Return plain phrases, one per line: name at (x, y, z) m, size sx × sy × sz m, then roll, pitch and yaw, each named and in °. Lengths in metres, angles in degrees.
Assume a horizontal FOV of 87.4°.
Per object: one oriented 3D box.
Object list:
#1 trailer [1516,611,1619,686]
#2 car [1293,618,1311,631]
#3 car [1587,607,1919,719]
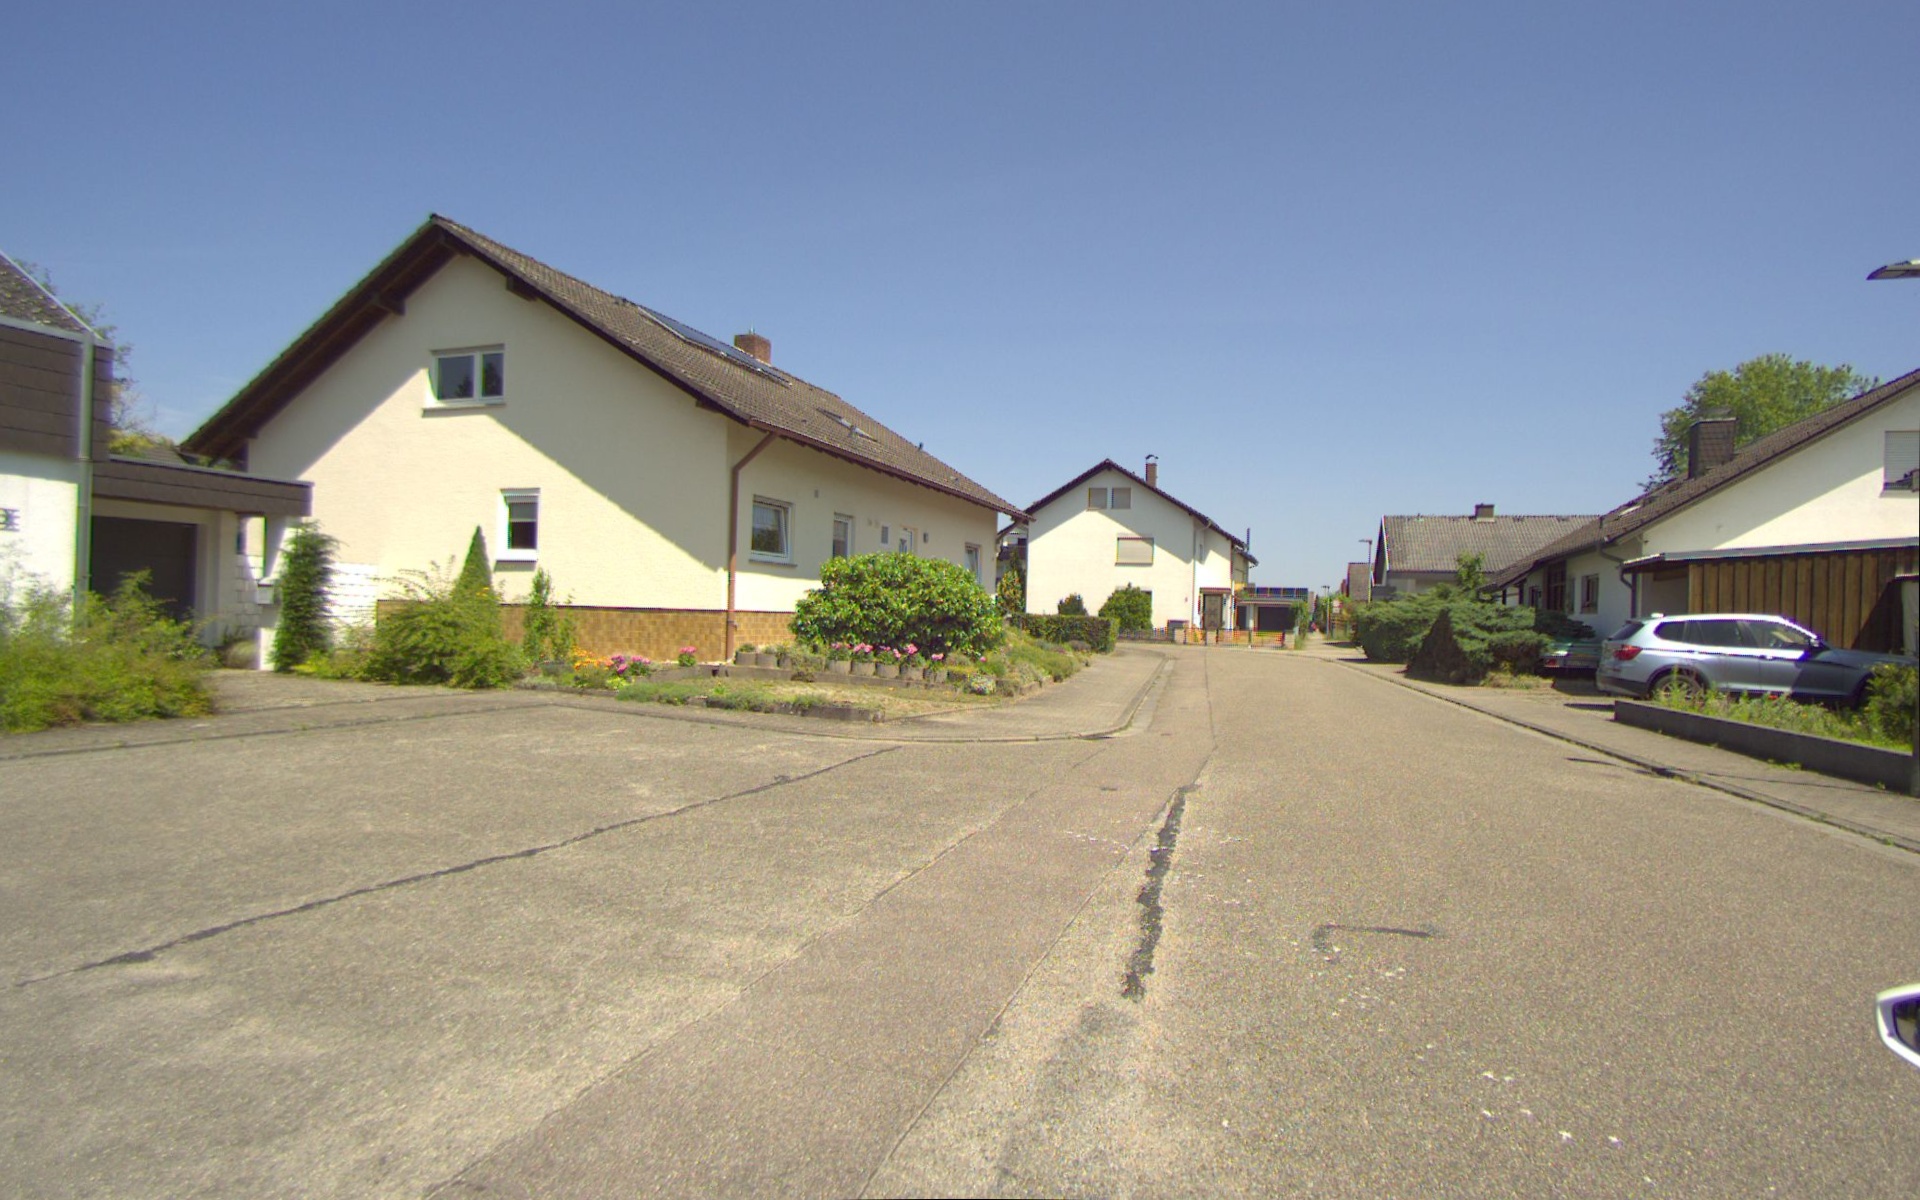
trailer at (14.792, 1.117, 24.625) m, size 1.561 × 1.694 × 3.296 m, roll 0°, pitch -1°, yaw 20°
car at (47.290, 3.354, 138.771) m, size 2.157 × 1.724 × 3.807 m, roll 1°, pitch -1°, yaw 20°
car at (13.434, 1.003, 17.013) m, size 4.553 × 1.724 × 1.709 m, roll 0°, pitch -1°, yaw 23°
